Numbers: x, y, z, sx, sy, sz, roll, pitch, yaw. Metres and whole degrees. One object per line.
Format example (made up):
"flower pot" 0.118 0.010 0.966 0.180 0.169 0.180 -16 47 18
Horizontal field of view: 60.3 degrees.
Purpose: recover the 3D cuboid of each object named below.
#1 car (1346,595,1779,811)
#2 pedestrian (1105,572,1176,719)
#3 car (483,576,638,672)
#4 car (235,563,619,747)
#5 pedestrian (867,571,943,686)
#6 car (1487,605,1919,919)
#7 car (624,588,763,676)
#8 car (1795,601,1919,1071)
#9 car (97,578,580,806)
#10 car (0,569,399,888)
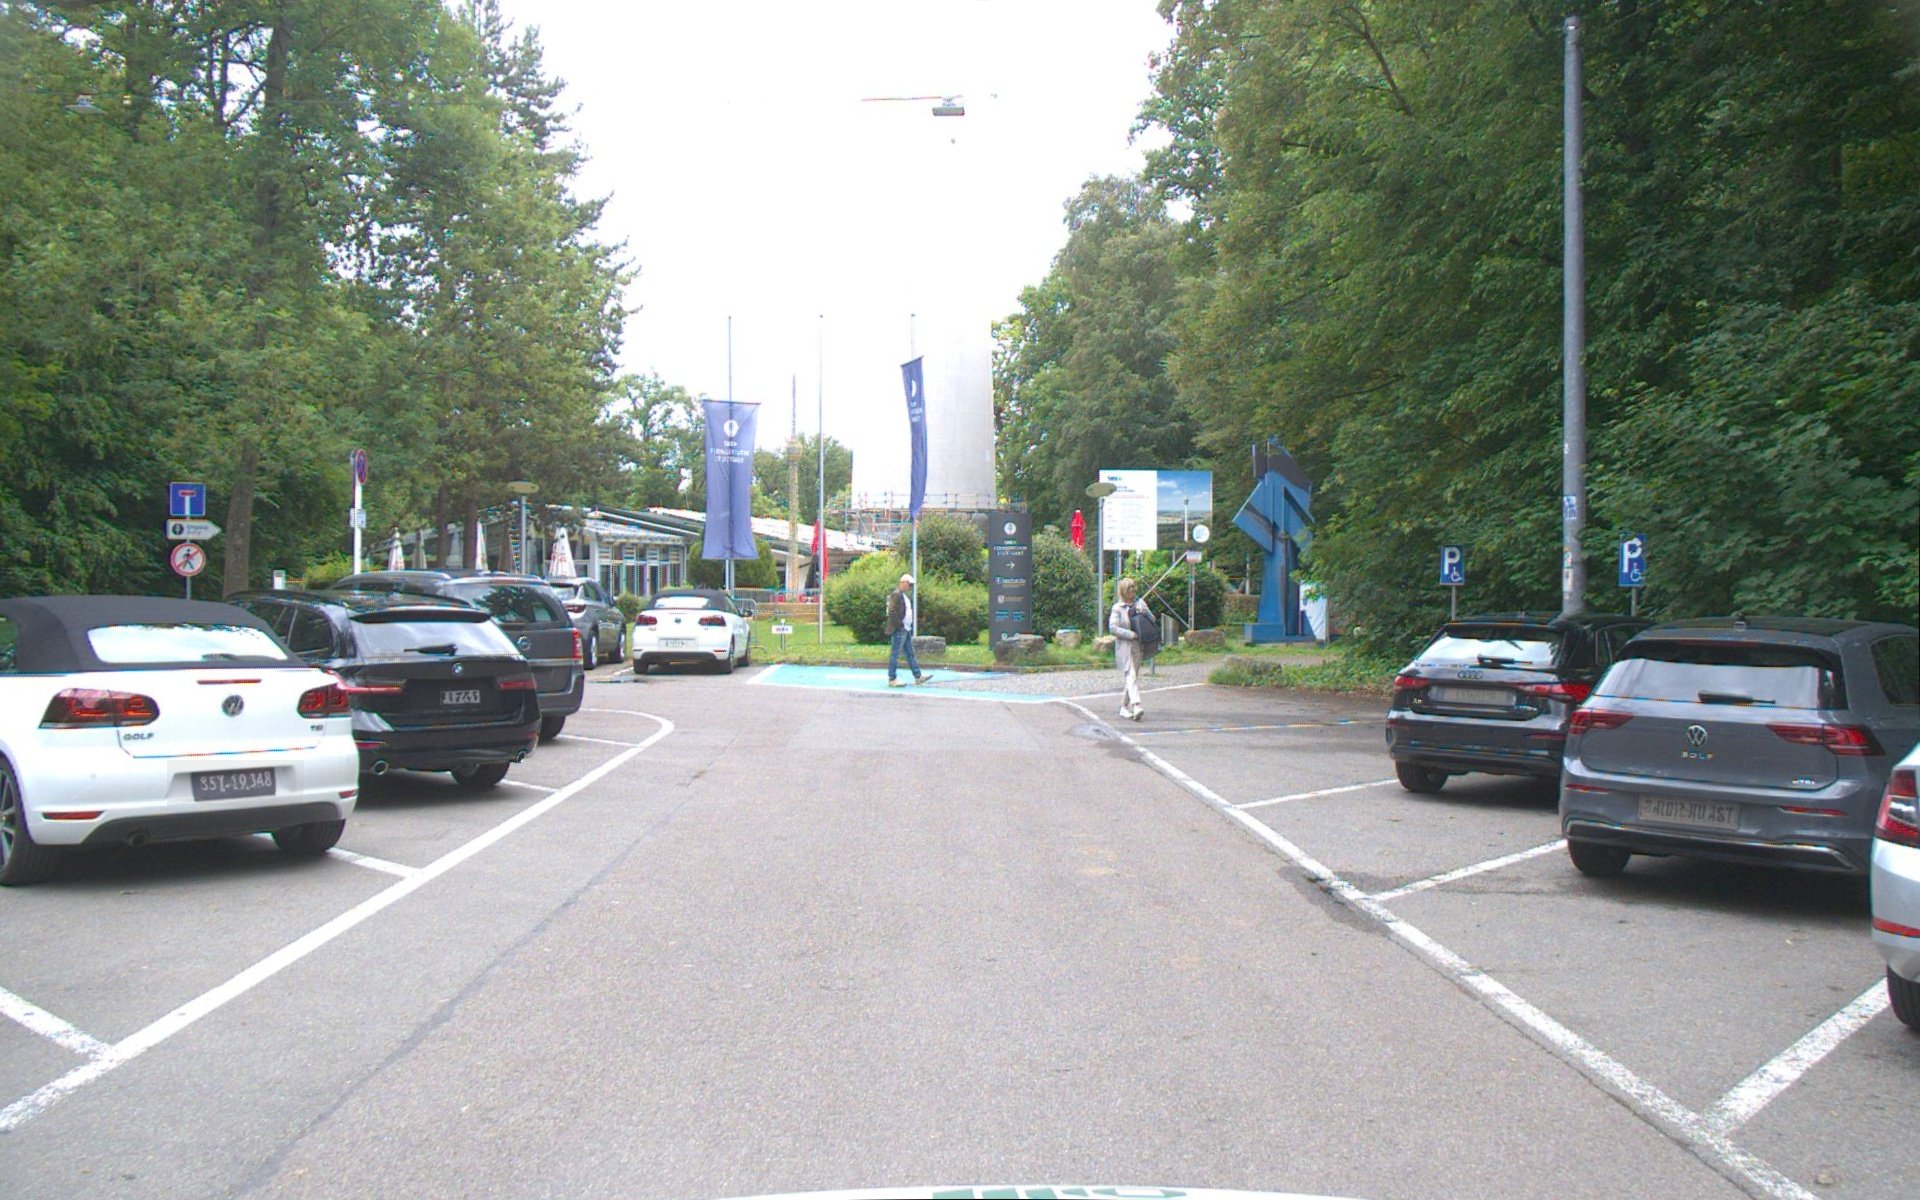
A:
"car" 5.098 0.745 13.686 1.867 1.488 4.176 1 0 44
"pedestrian" 2.205 0.545 20.288 0.746 1.755 0.897 1 0 0
"car" -7.237 0.409 30.353 1.854 1.613 4.000 1 0 0
"car" -5.507 0.481 16.801 4.310 1.637 1.818 1 0 42
"pedestrian" -0.850 0.431 25.635 0.878 1.755 0.762 1 0 34
"car" 4.904 0.781 9.858 1.877 1.447 3.974 1 0 43
"car" -4.702 0.535 29.735 1.854 1.453 3.999 1 0 -1
"car" 4.859 0.767 6.228 3.967 1.492 1.807 0 0 -43
"car" -4.900 0.587 12.759 4.202 1.469 1.749 1 0 42
"car" -4.983 0.588 9.576 3.780 1.469 1.761 1 0 44
